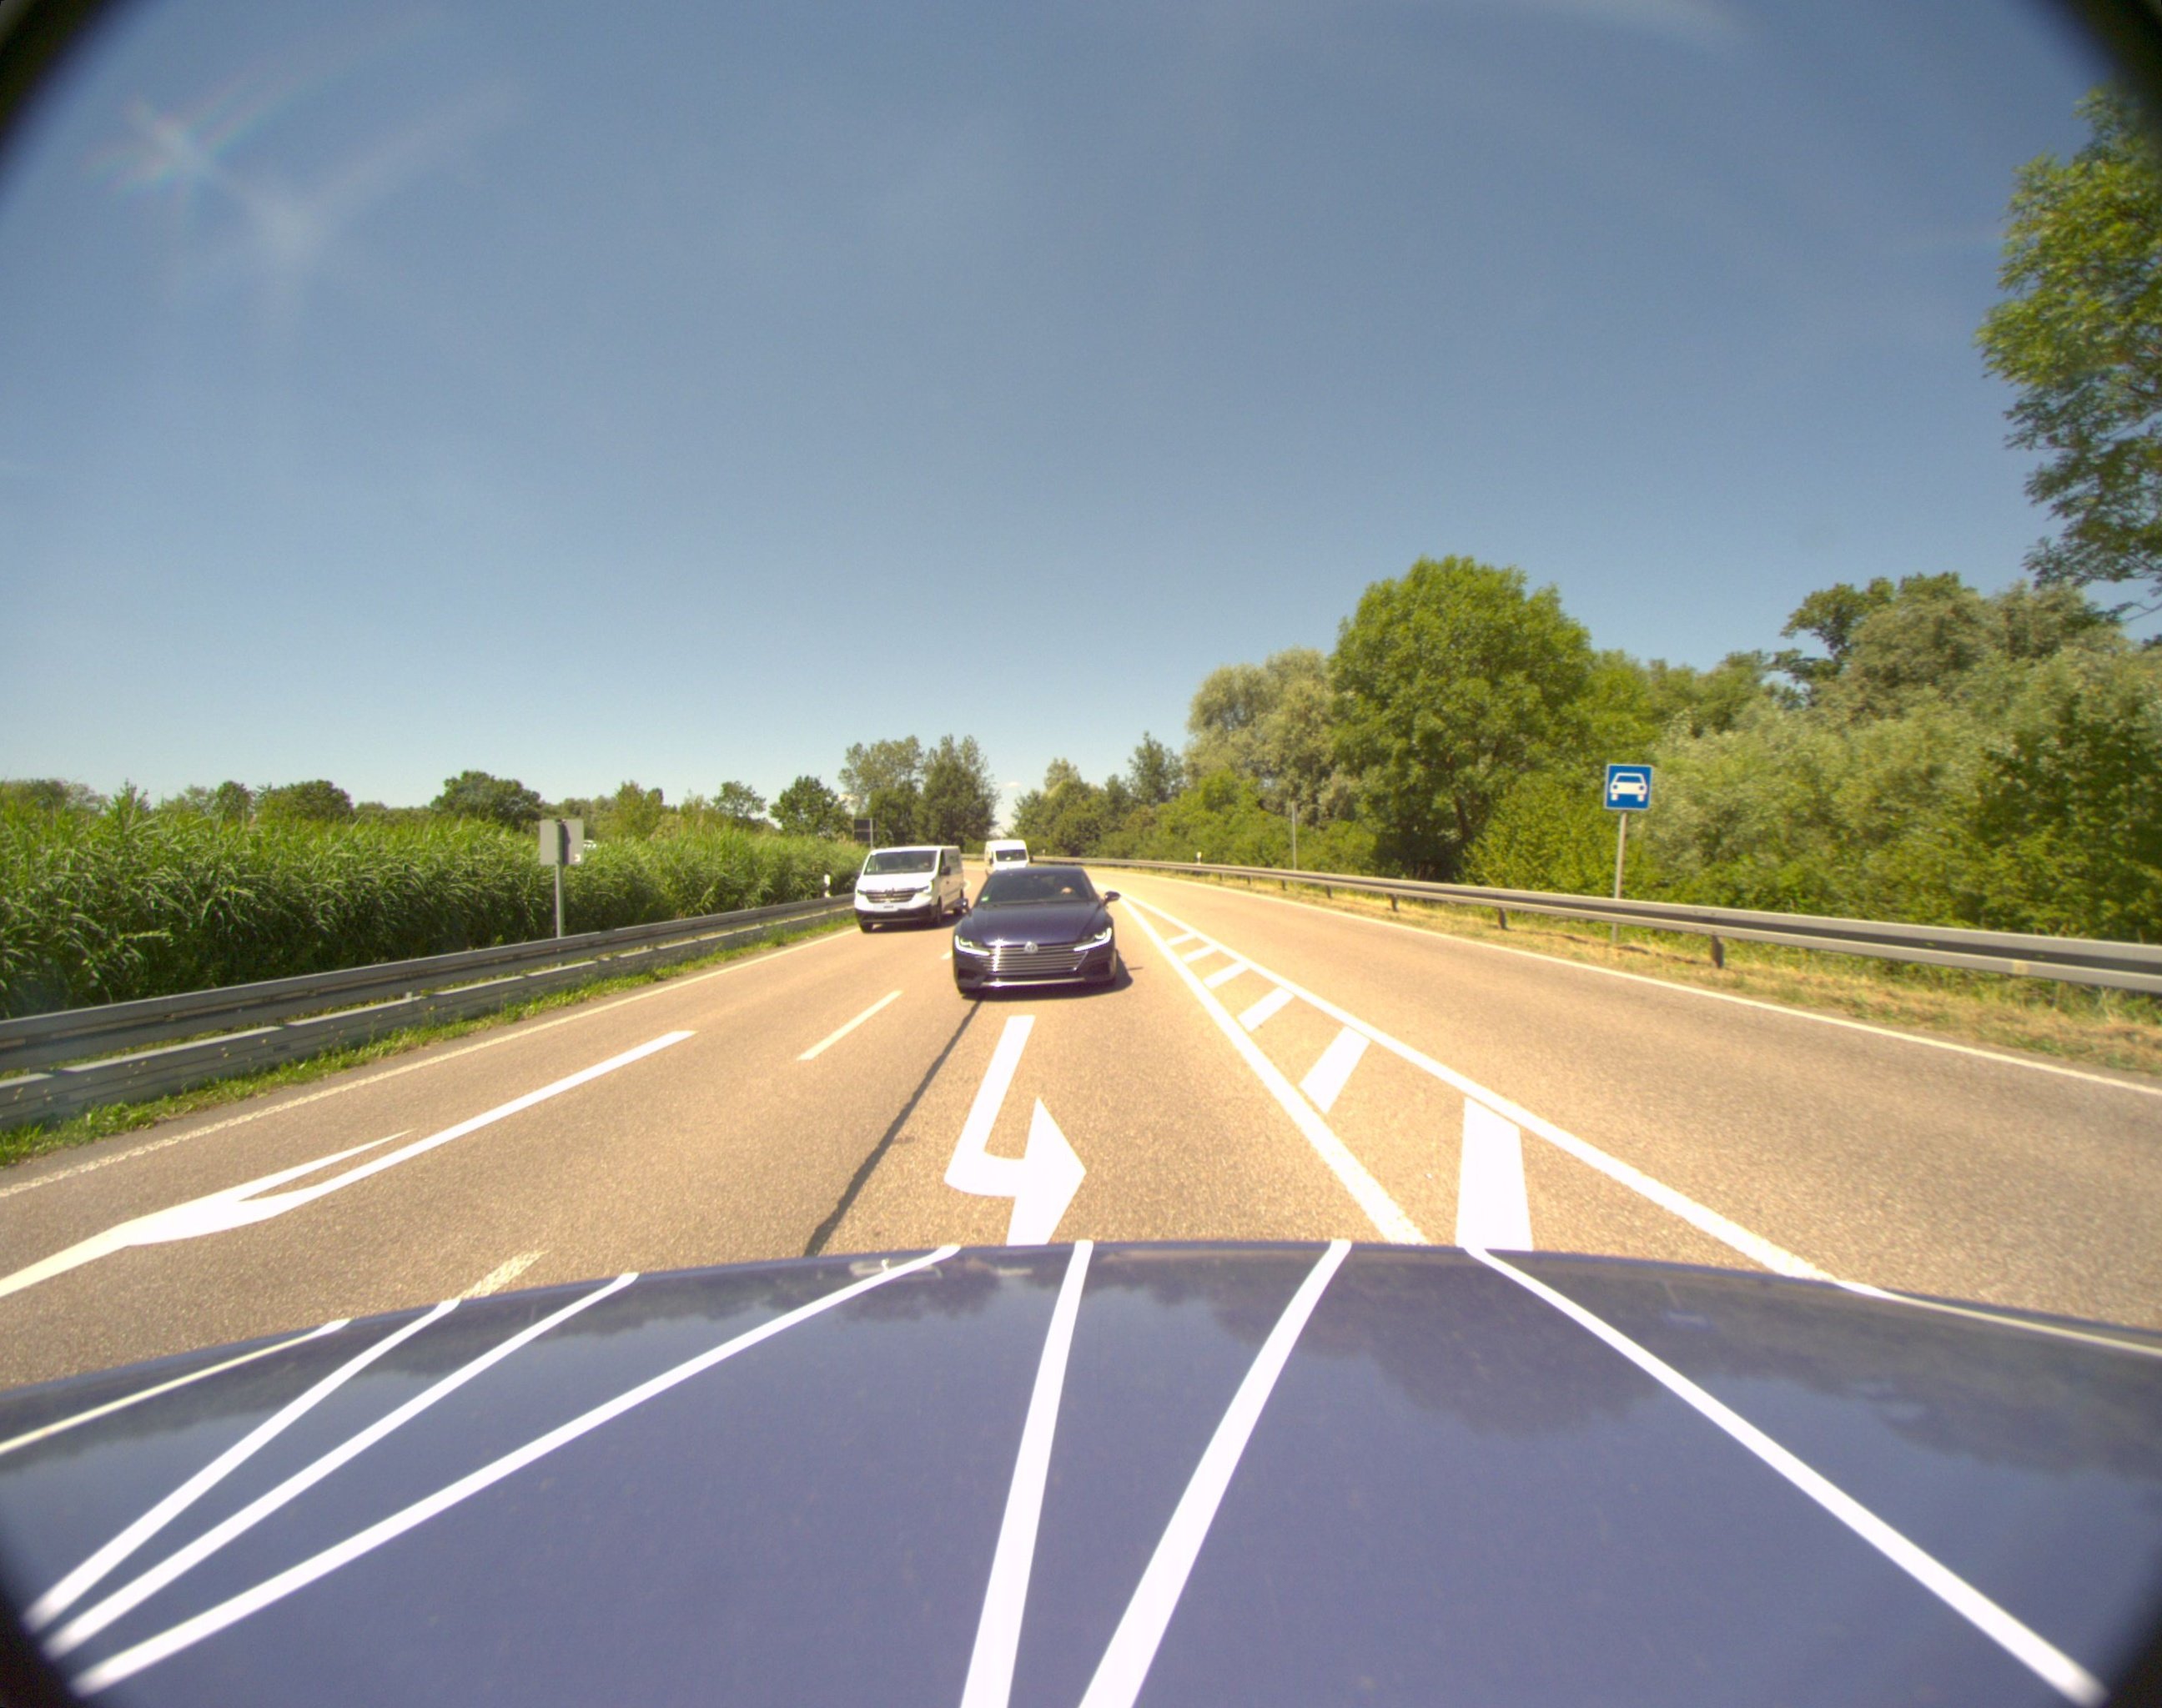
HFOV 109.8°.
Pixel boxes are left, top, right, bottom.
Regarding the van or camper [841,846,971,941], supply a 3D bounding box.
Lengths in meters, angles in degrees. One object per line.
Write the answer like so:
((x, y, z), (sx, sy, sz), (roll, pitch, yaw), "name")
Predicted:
((-4.243, 0.841, 19.416), (2.009, 2.020, 5.447), (-2, 1, 0), "van or camper")

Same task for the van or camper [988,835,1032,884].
((-4.178, 0.304, 43.742), (2.075, 2.540, 6.042), (-2, 0, -9), "van or camper")

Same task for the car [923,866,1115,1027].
((-0.594, 0.961, 9.848), (1.843, 1.422, 4.533), (-3, 0, 1), "car")
